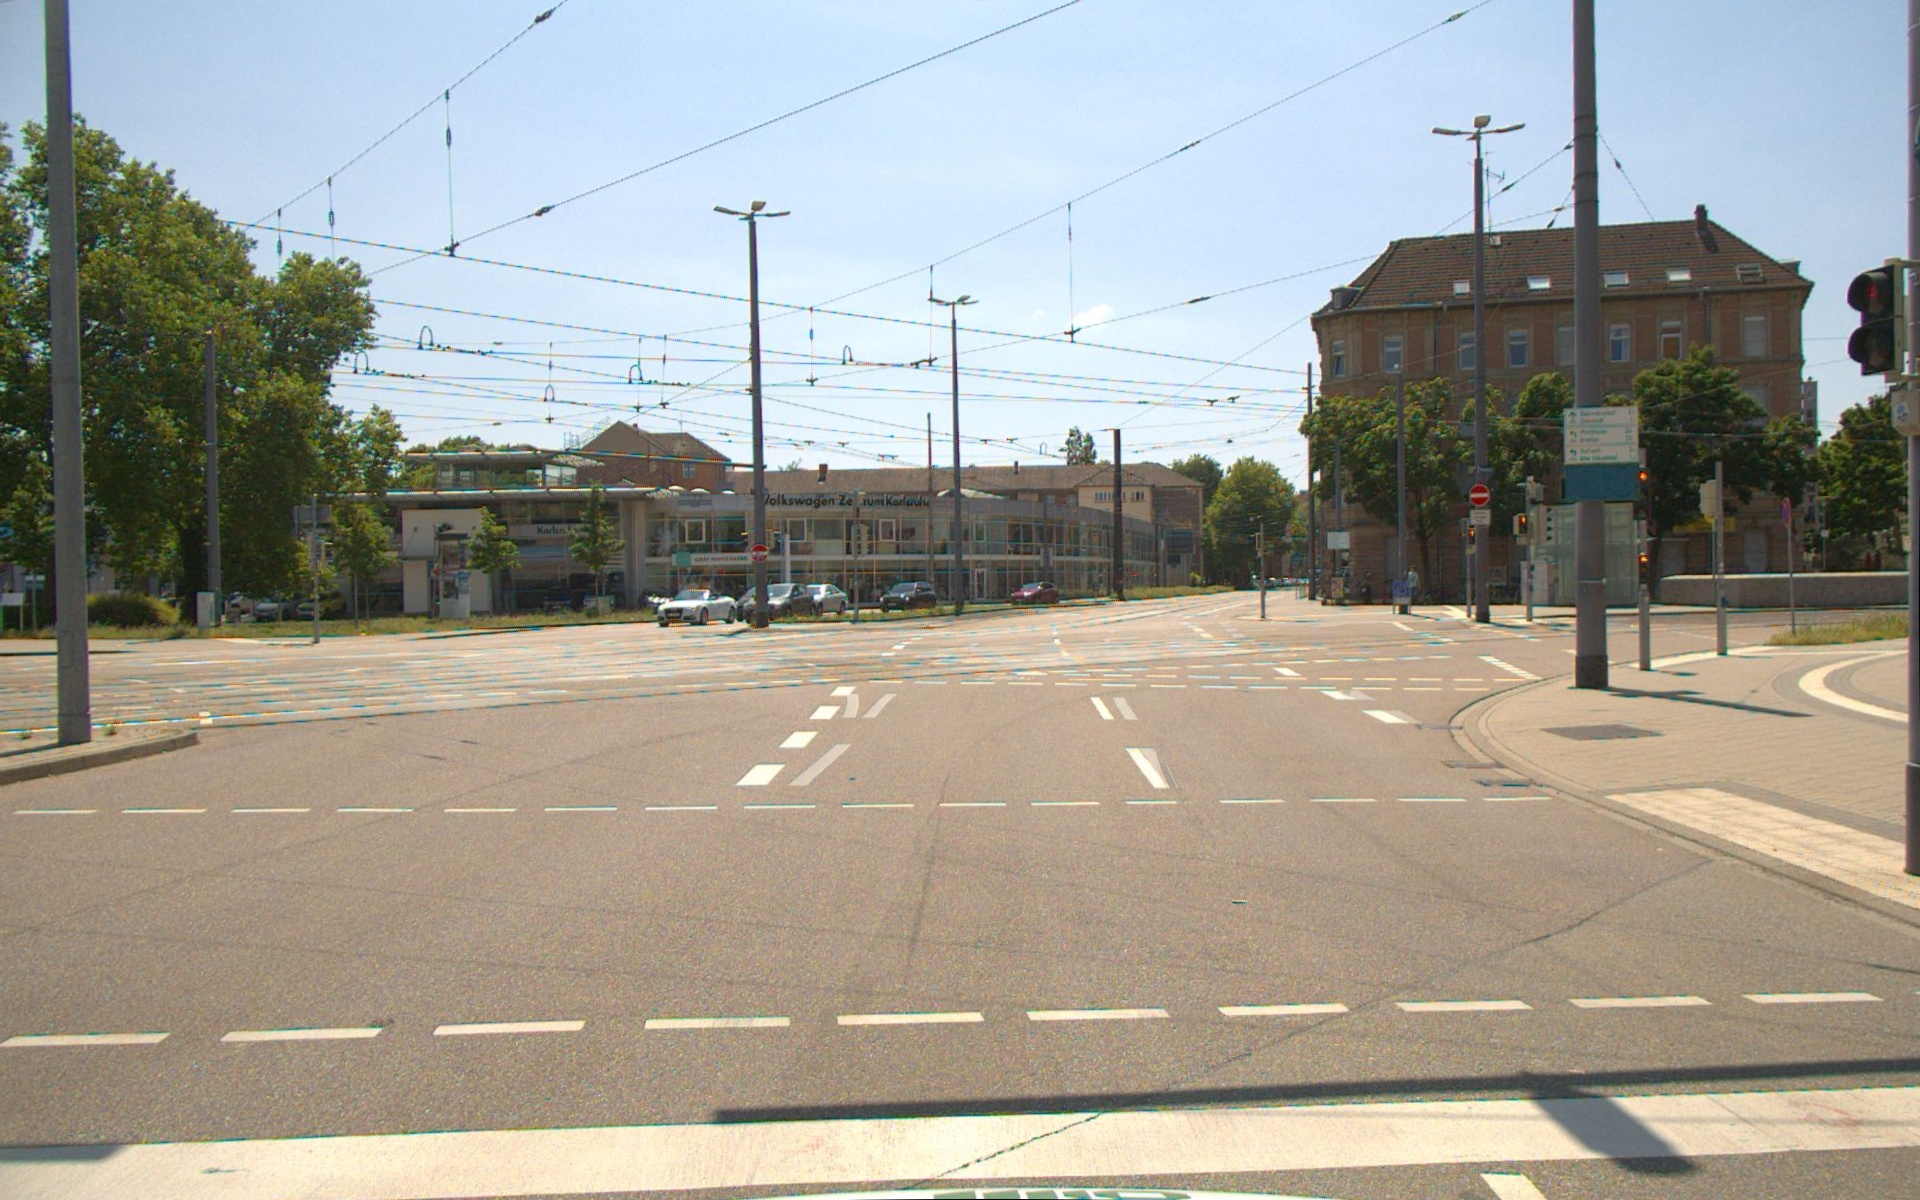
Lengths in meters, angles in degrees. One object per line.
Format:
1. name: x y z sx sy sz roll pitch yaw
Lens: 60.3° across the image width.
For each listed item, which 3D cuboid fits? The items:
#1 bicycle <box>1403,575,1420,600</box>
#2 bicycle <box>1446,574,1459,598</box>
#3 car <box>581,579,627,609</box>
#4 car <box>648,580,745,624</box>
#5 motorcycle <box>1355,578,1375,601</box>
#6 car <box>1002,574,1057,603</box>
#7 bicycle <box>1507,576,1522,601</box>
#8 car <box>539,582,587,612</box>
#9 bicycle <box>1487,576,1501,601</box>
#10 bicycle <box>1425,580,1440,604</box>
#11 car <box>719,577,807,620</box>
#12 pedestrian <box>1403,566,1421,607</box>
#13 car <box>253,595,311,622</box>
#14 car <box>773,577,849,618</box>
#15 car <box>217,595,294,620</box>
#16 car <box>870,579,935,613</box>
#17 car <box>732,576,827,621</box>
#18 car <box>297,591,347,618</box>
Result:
1. bicycle: 21.828 -0.614 79.914 0.433 1.166 2.095 1 0 6
2. bicycle: 23.461 -0.683 78.871 0.539 1.139 1.822 -1 1 15
3. car: -21.472 -0.321 99.771 1.881 1.737 4.000 1 0 0
4. car: -10.160 0.042 64.093 2.032 1.607 4.850 -1 1 13
5. motorcycle: 19.442 -0.495 79.386 0.568 1.093 1.947 -1 0 3
6. car: 4.485 -0.719 105.873 1.955 1.807 3.994 1 0 28
7. bicycle: 26.507 -0.559 79.098 0.539 1.139 1.931 -1 0 15
8. car: -23.886 -0.162 99.669 1.881 1.737 4.000 1 0 0
9. bicycle: 25.567 -0.550 79.139 0.539 1.139 1.872 -1 0 15
10. bicycle: 22.654 -0.405 79.215 0.539 1.139 1.821 -1 0 20
11. car: -8.323 -0.075 70.261 1.951 1.730 4.850 -1 1 16
12. pedestrian: 19.488 -0.577 71.345 0.454 1.738 0.636 -1 0 -19
13. car: -41.434 0.492 101.121 1.731 1.536 4.327 -1 1 0
14. car: -6.821 -0.146 76.226 1.951 1.770 4.546 -1 1 16
15. car: -45.322 0.484 106.480 4.279 1.536 1.750 -1 1 -36
16. car: -3.038 -0.246 88.604 2.034 1.712 4.850 -1 1 16
17. car: -6.979 -0.084 64.453 1.951 1.666 4.850 -1 1 16
18. car: -38.782 0.257 100.625 1.732 1.536 4.322 -1 1 -5
